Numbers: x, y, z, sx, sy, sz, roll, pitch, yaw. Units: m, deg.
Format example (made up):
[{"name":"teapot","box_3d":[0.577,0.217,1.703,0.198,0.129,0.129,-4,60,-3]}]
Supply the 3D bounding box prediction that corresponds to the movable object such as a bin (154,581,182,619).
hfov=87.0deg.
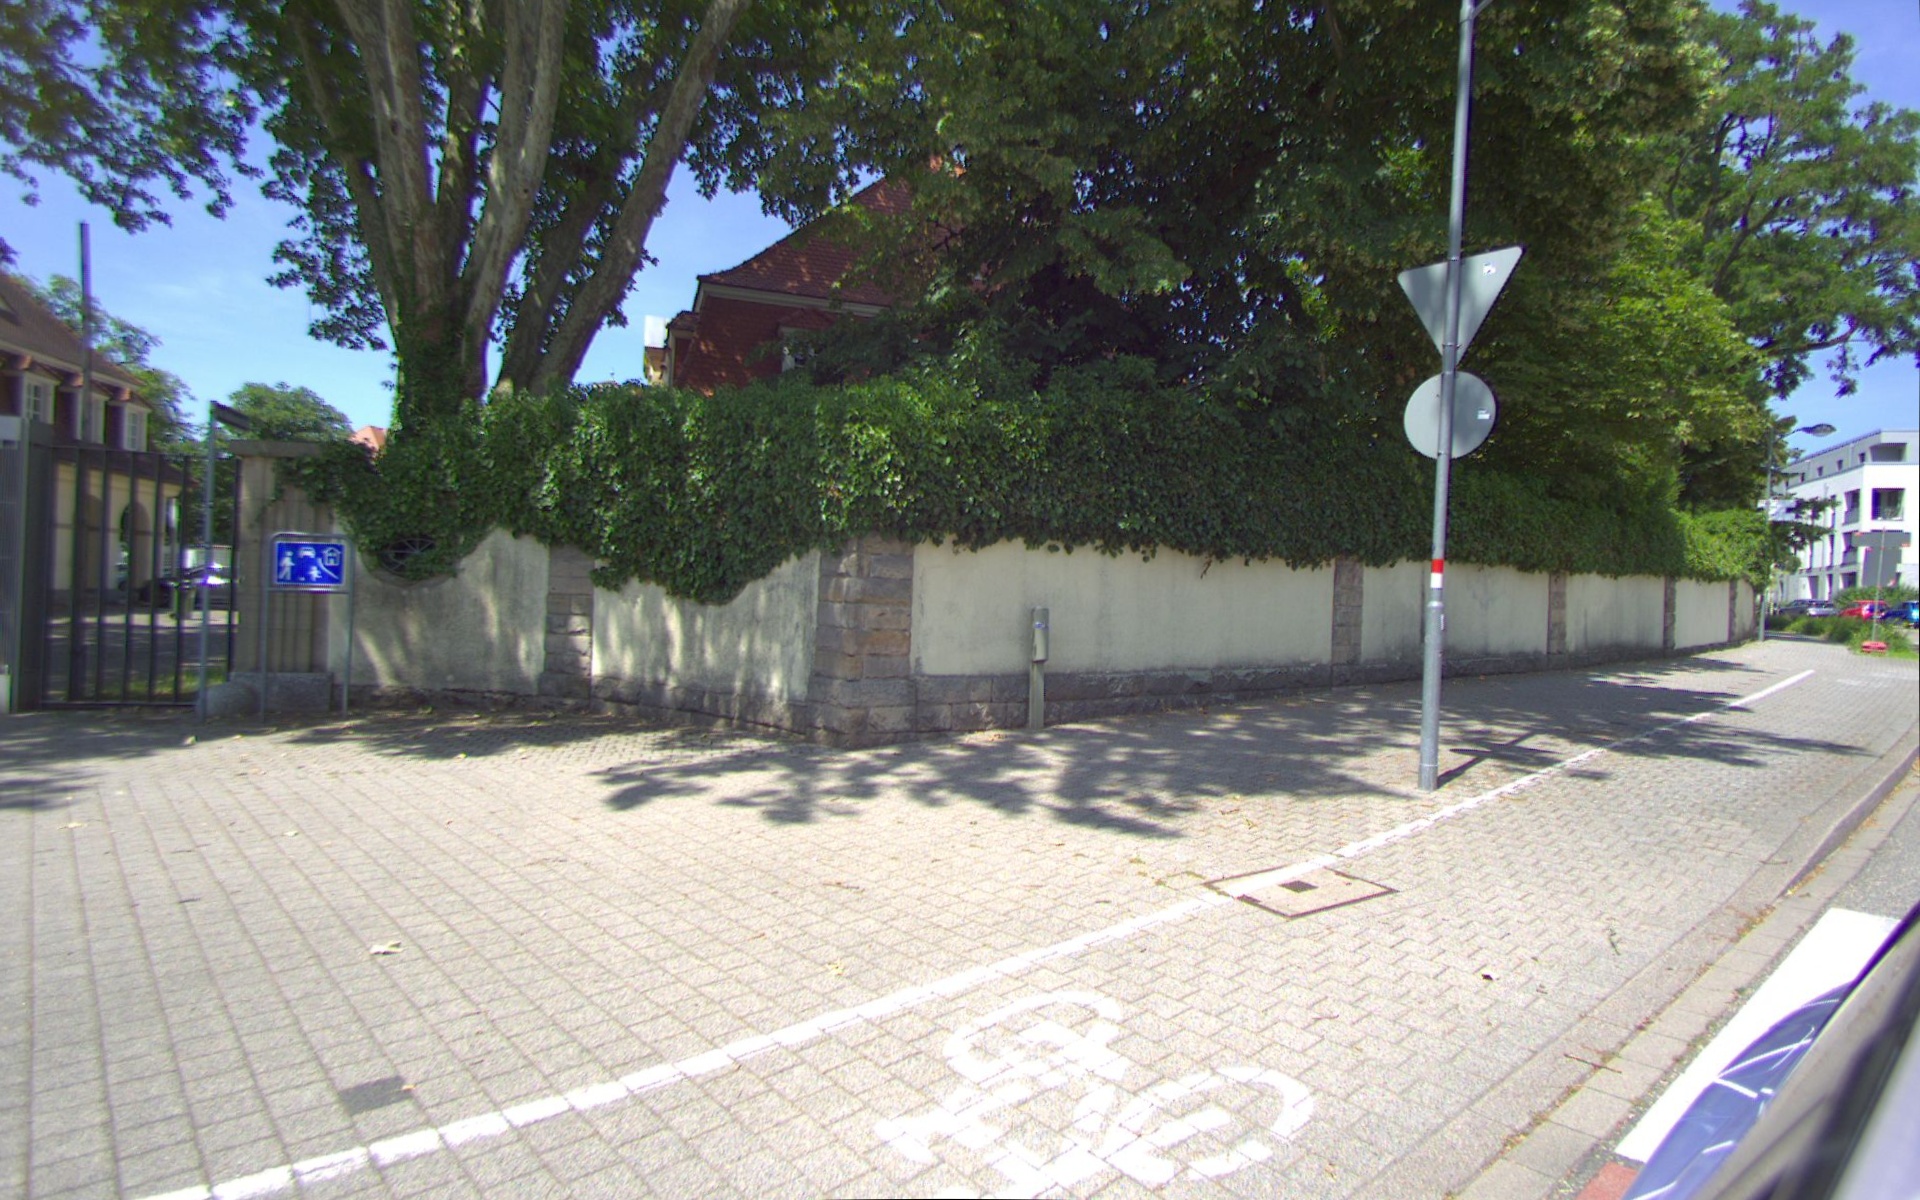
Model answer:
[{"name":"movable object such as a bin","box_3d":[-21.539,0.005,27.514,0.526,1.021,0.529,1,1,45]}]

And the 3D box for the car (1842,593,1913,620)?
[{"name":"car","box_3d":[52.962,0.342,58.513,1.685,1.431,3.698,1,1,19]}]

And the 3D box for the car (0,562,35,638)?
[{"name":"car","box_3d":[-20.395,-0.176,18.675,4.407,1.420,2.004,6,0,-14]}]

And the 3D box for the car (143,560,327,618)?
[{"name":"car","box_3d":[-23.733,-0.347,33.307,4.407,1.420,2.004,6,0,-14]}]

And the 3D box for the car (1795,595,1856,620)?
[{"name":"car","box_3d":[55.008,0.451,64.372,1.685,1.431,3.698,1,1,19]}]

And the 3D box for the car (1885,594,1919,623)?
[{"name":"car","box_3d":[51.008,0.450,53.562,1.685,1.431,3.698,1,1,19]}]
